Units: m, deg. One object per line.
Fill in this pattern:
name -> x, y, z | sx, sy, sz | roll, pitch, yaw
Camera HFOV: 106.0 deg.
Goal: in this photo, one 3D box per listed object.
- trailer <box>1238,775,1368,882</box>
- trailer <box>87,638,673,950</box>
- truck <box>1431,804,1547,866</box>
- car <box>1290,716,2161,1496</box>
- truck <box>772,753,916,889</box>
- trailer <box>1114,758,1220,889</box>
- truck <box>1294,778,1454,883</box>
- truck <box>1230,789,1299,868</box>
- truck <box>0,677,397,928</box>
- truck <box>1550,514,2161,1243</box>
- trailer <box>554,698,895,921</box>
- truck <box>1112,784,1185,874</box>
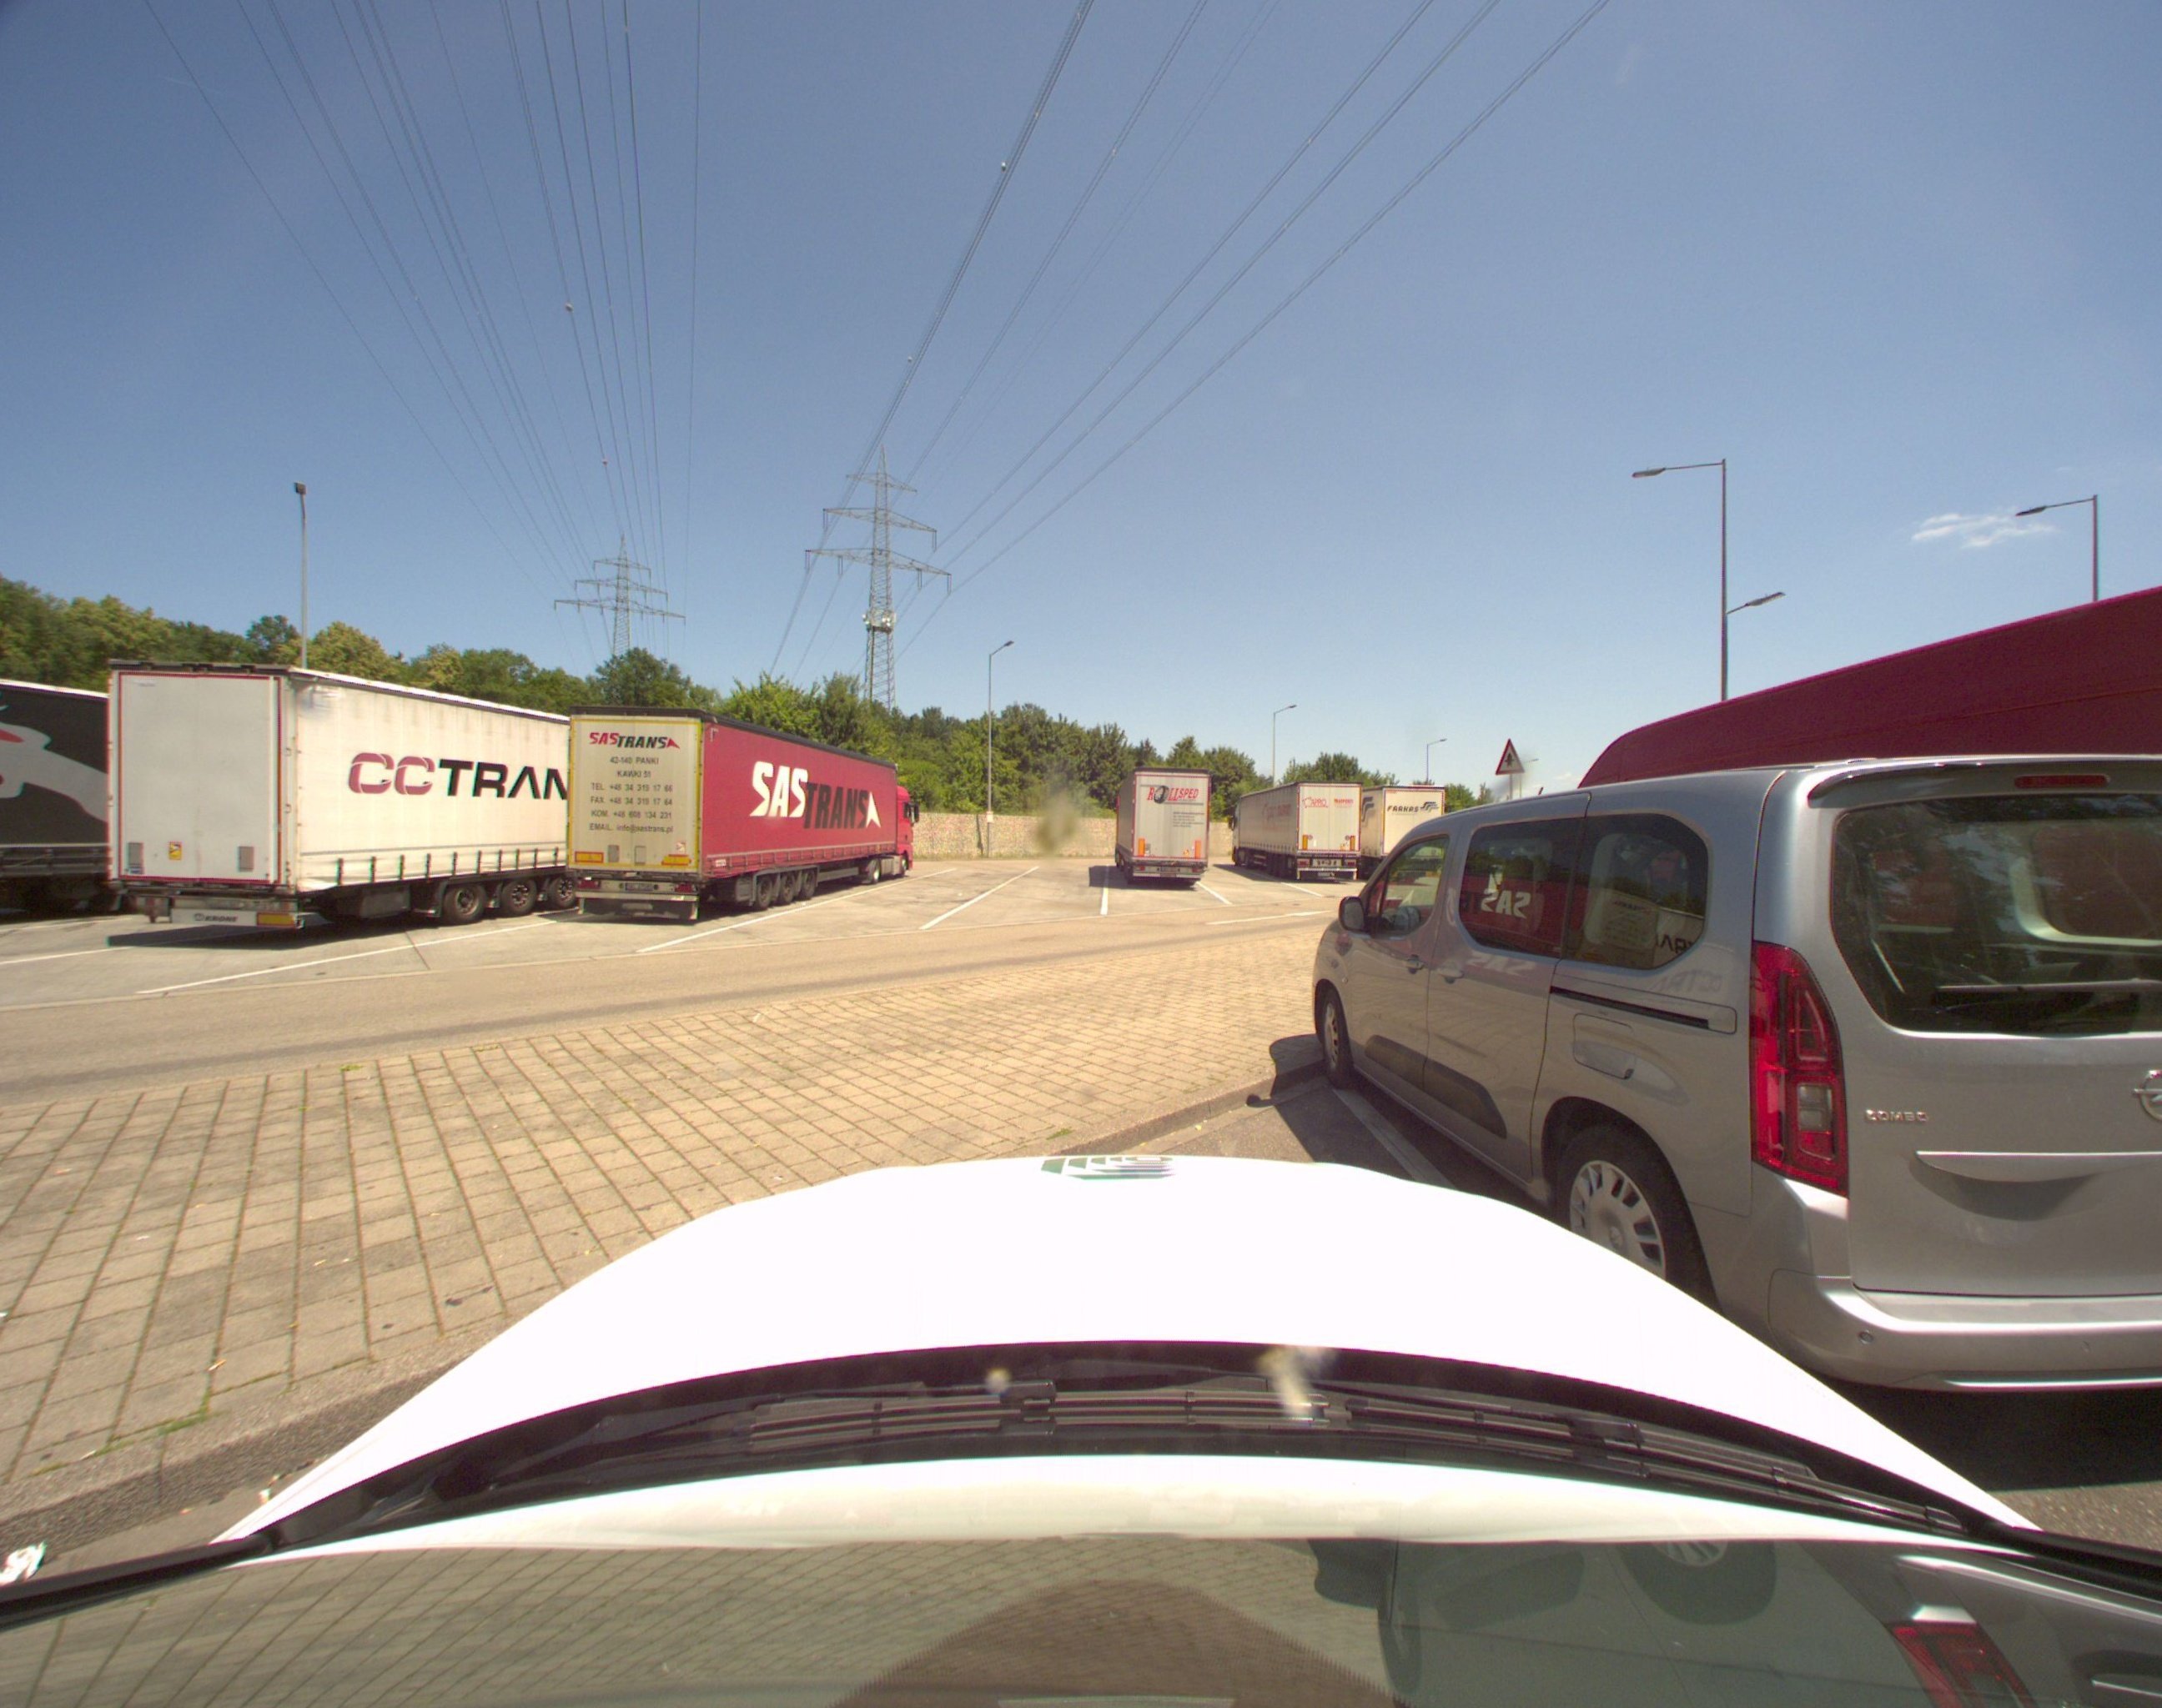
trailer -> 9.934, -1.102, 38.423 | 2.865, 4.124, 13.577 | 0, 1, 2
trailer -> -12.105, -0.896, 16.085 | 2.734, 4.263, 9.740 | 0, 1, 3
truck -> 24.456, -1.126, 49.450 | 3.013, 3.437, 8.534 | -1, 1, 2
car -> 2.464, 0.530, 3.865 | 1.821, 1.753, 3.998 | -1, 1, -2
truck -> -7.845, -1.051, 28.029 | 2.733, 4.081, 6.832 | -1, 1, 1
trailer -> 3.039, -1.187, 32.752 | 3.059, 4.227, 12.811 | 1, 2, 1
truck -> 13.569, -1.056, 39.668 | 2.894, 4.124, 14.533 | 2, 1, 2
truck -> 10.121, -1.392, 45.426 | 2.747, 4.124, 5.286 | -1, 1, 2
truck -> -18.517, -0.857, 15.979 | 2.627, 4.018, 8.640 | -1, 1, 2
truck -> 5.094, 0.051, 4.886 | 1.983, 2.623, 5.312 | -1, 1, 6
trailer -> -8.051, -0.918, 21.565 | 2.739, 4.057, 13.292 | -1, 1, 2
truck -> 3.121, -1.220, 39.525 | 3.016, 3.928, 6.848 | 1, 2, 1
